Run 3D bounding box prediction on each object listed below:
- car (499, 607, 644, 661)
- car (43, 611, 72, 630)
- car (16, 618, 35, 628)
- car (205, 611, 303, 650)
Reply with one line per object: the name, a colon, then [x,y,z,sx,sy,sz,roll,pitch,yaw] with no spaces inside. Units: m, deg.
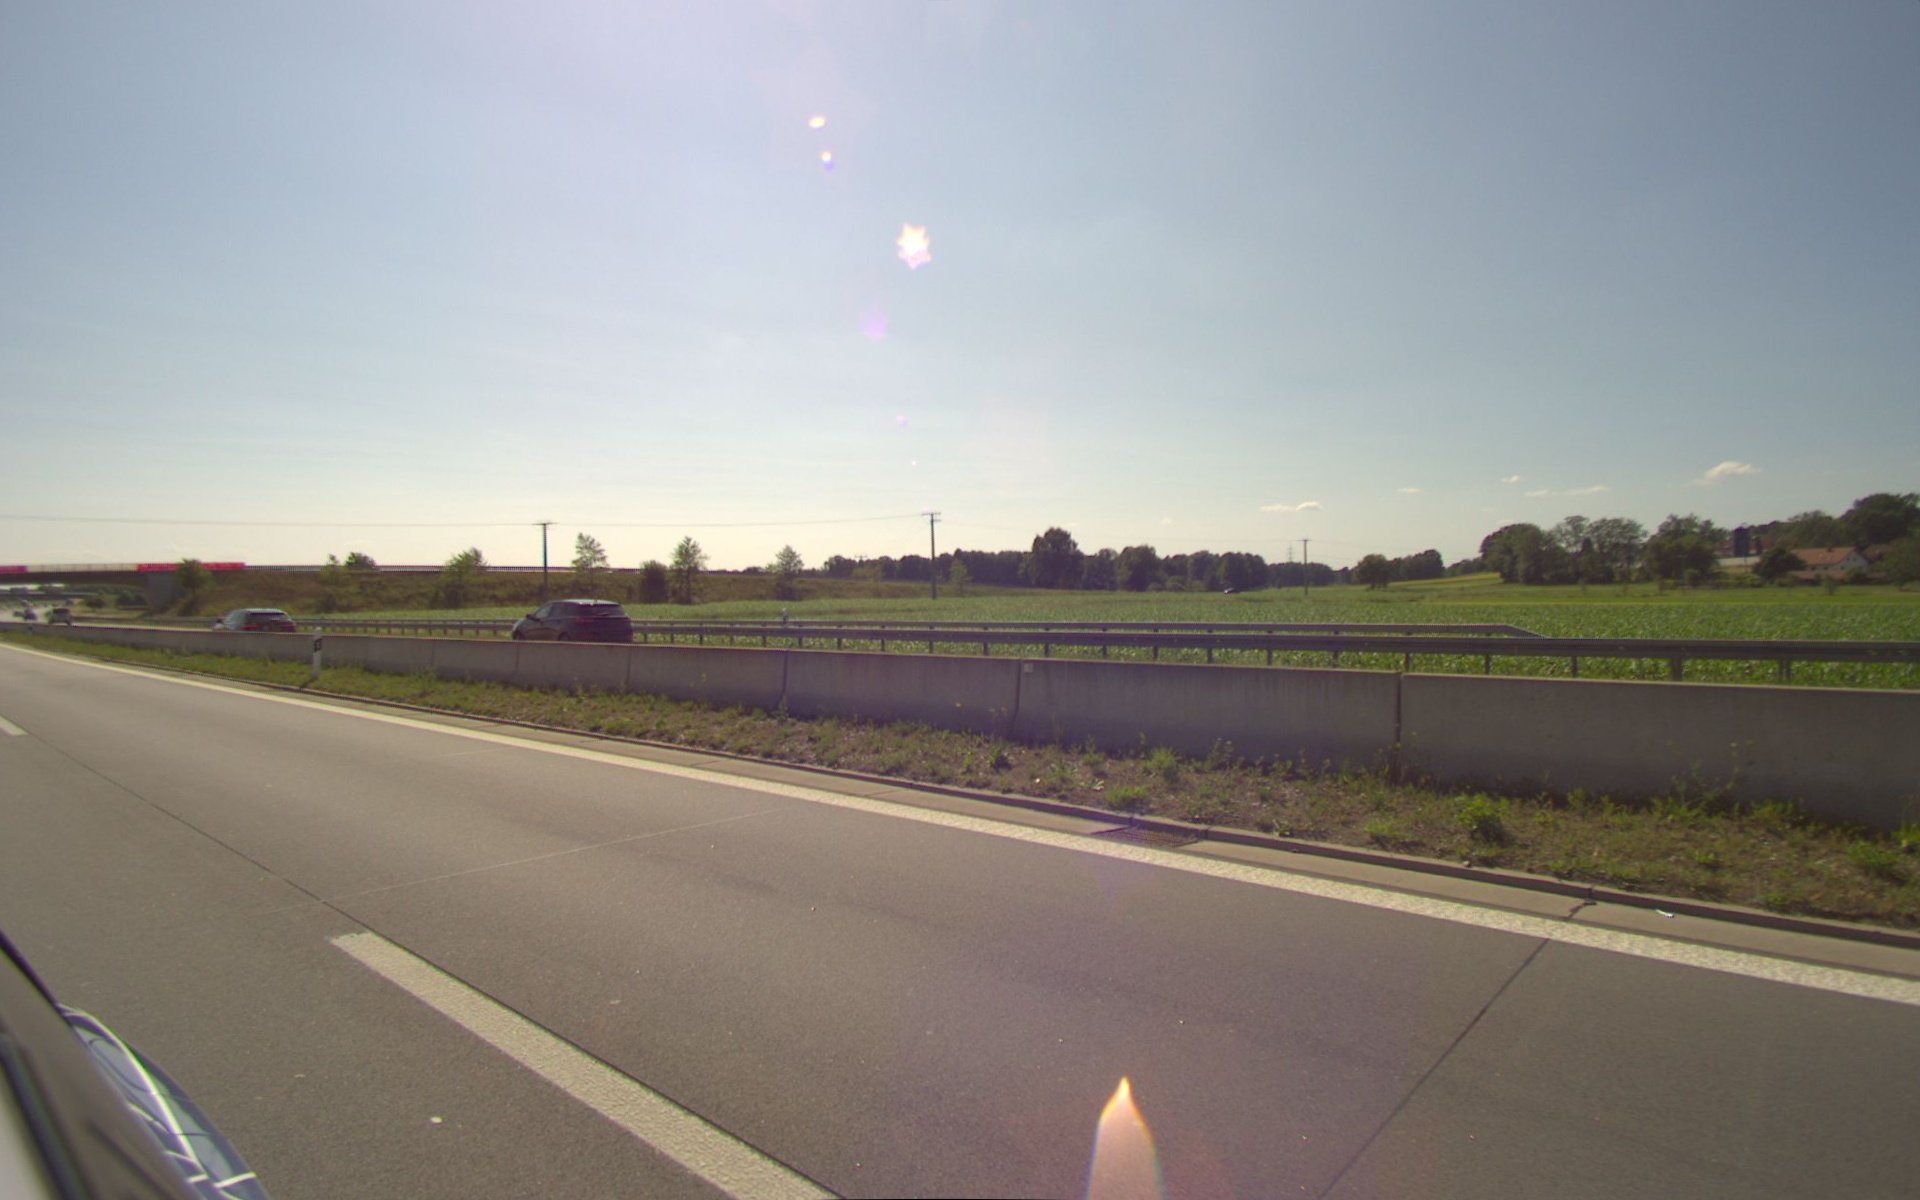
car: [-10.863,0.923,28.155,4.661,1.375,1.804,-2,-2,41]
car: [-102.813,2.285,115.298,5.613,2.029,1.972,0,0,43]
car: [-150.866,3.704,163.381,4.586,1.525,1.839,-1,1,44]
car: [-26.306,1.123,37.660,5.194,1.375,1.804,-2,-2,41]
